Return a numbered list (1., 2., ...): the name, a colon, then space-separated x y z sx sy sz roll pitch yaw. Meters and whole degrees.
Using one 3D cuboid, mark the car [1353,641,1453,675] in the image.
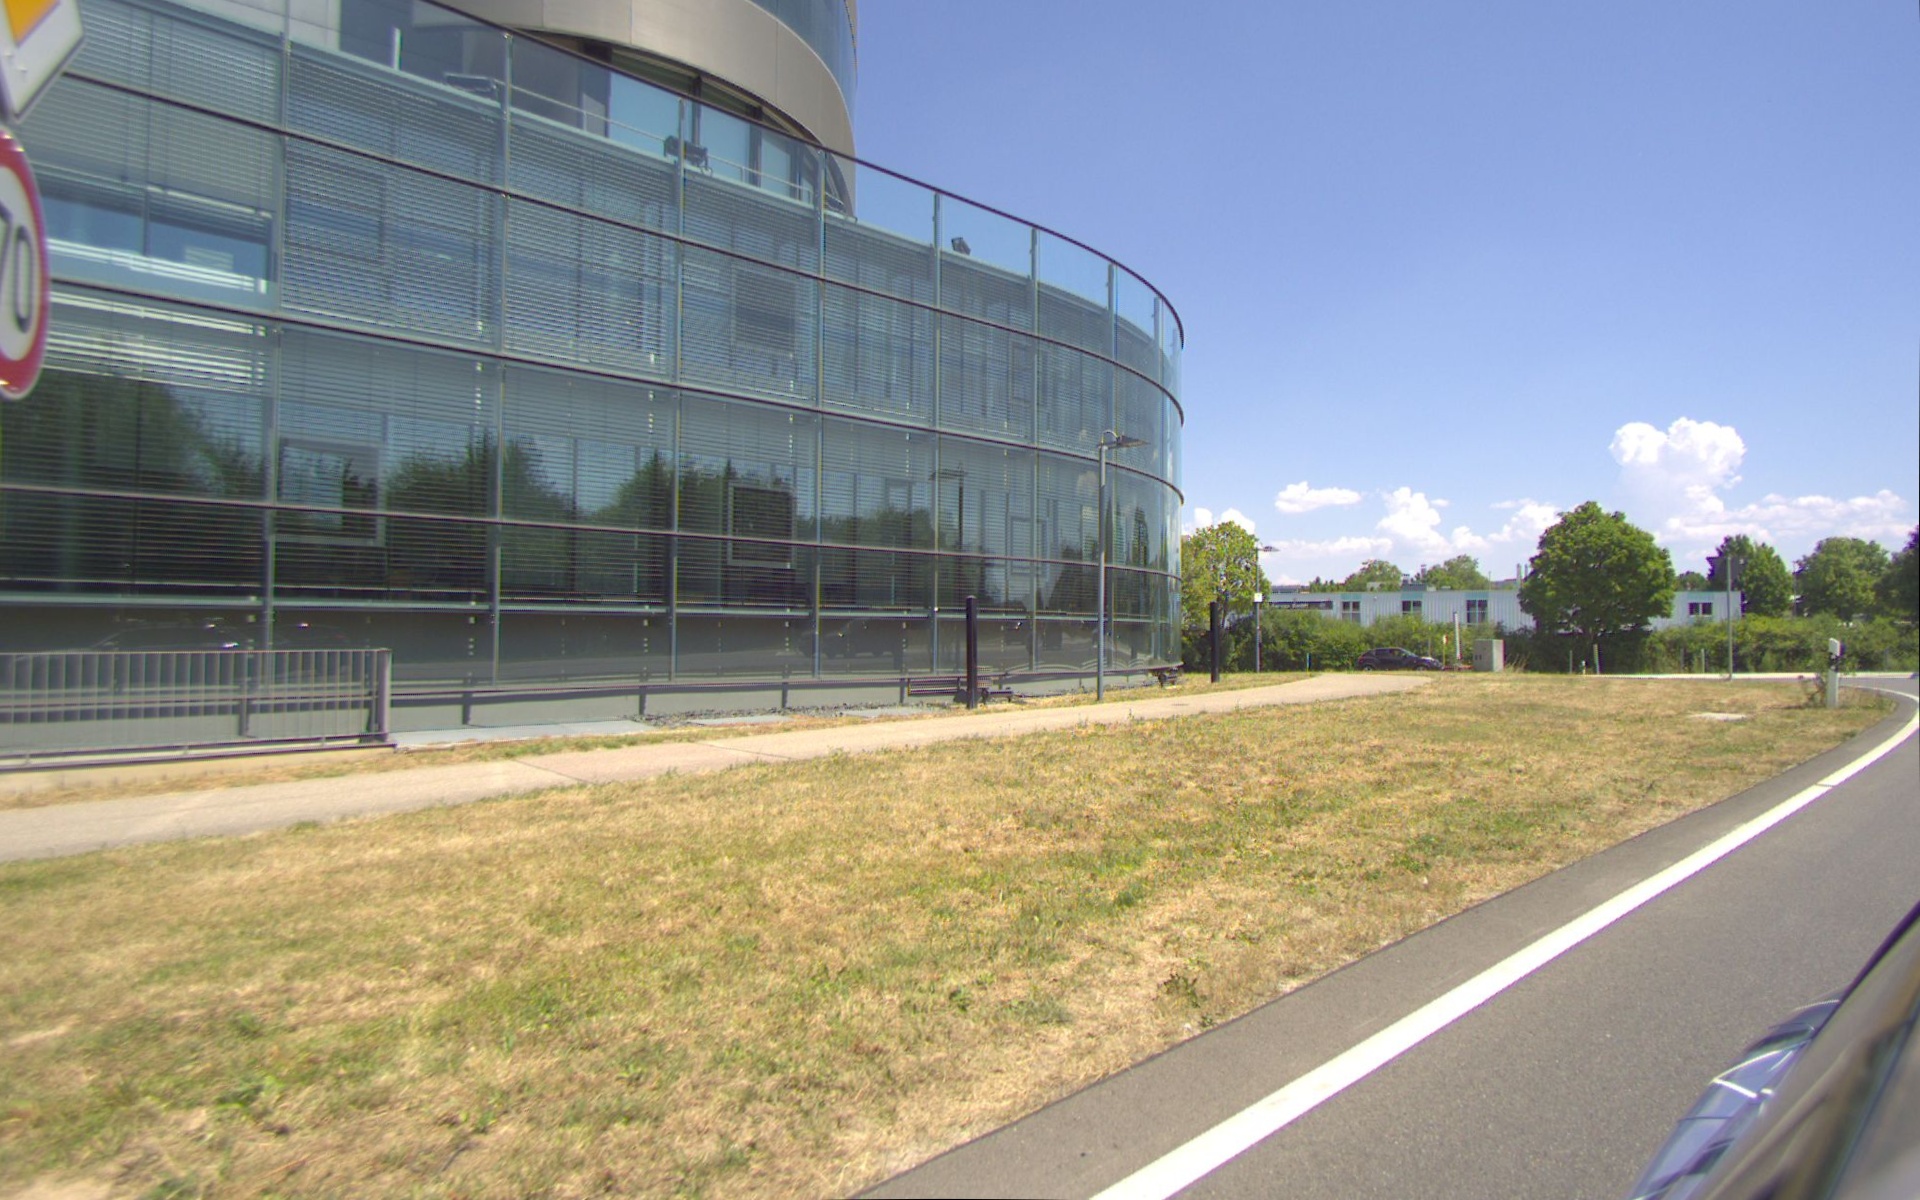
1. car: 22.106 2.881 50.529 4.318 1.620 1.916 -2 -4 32
